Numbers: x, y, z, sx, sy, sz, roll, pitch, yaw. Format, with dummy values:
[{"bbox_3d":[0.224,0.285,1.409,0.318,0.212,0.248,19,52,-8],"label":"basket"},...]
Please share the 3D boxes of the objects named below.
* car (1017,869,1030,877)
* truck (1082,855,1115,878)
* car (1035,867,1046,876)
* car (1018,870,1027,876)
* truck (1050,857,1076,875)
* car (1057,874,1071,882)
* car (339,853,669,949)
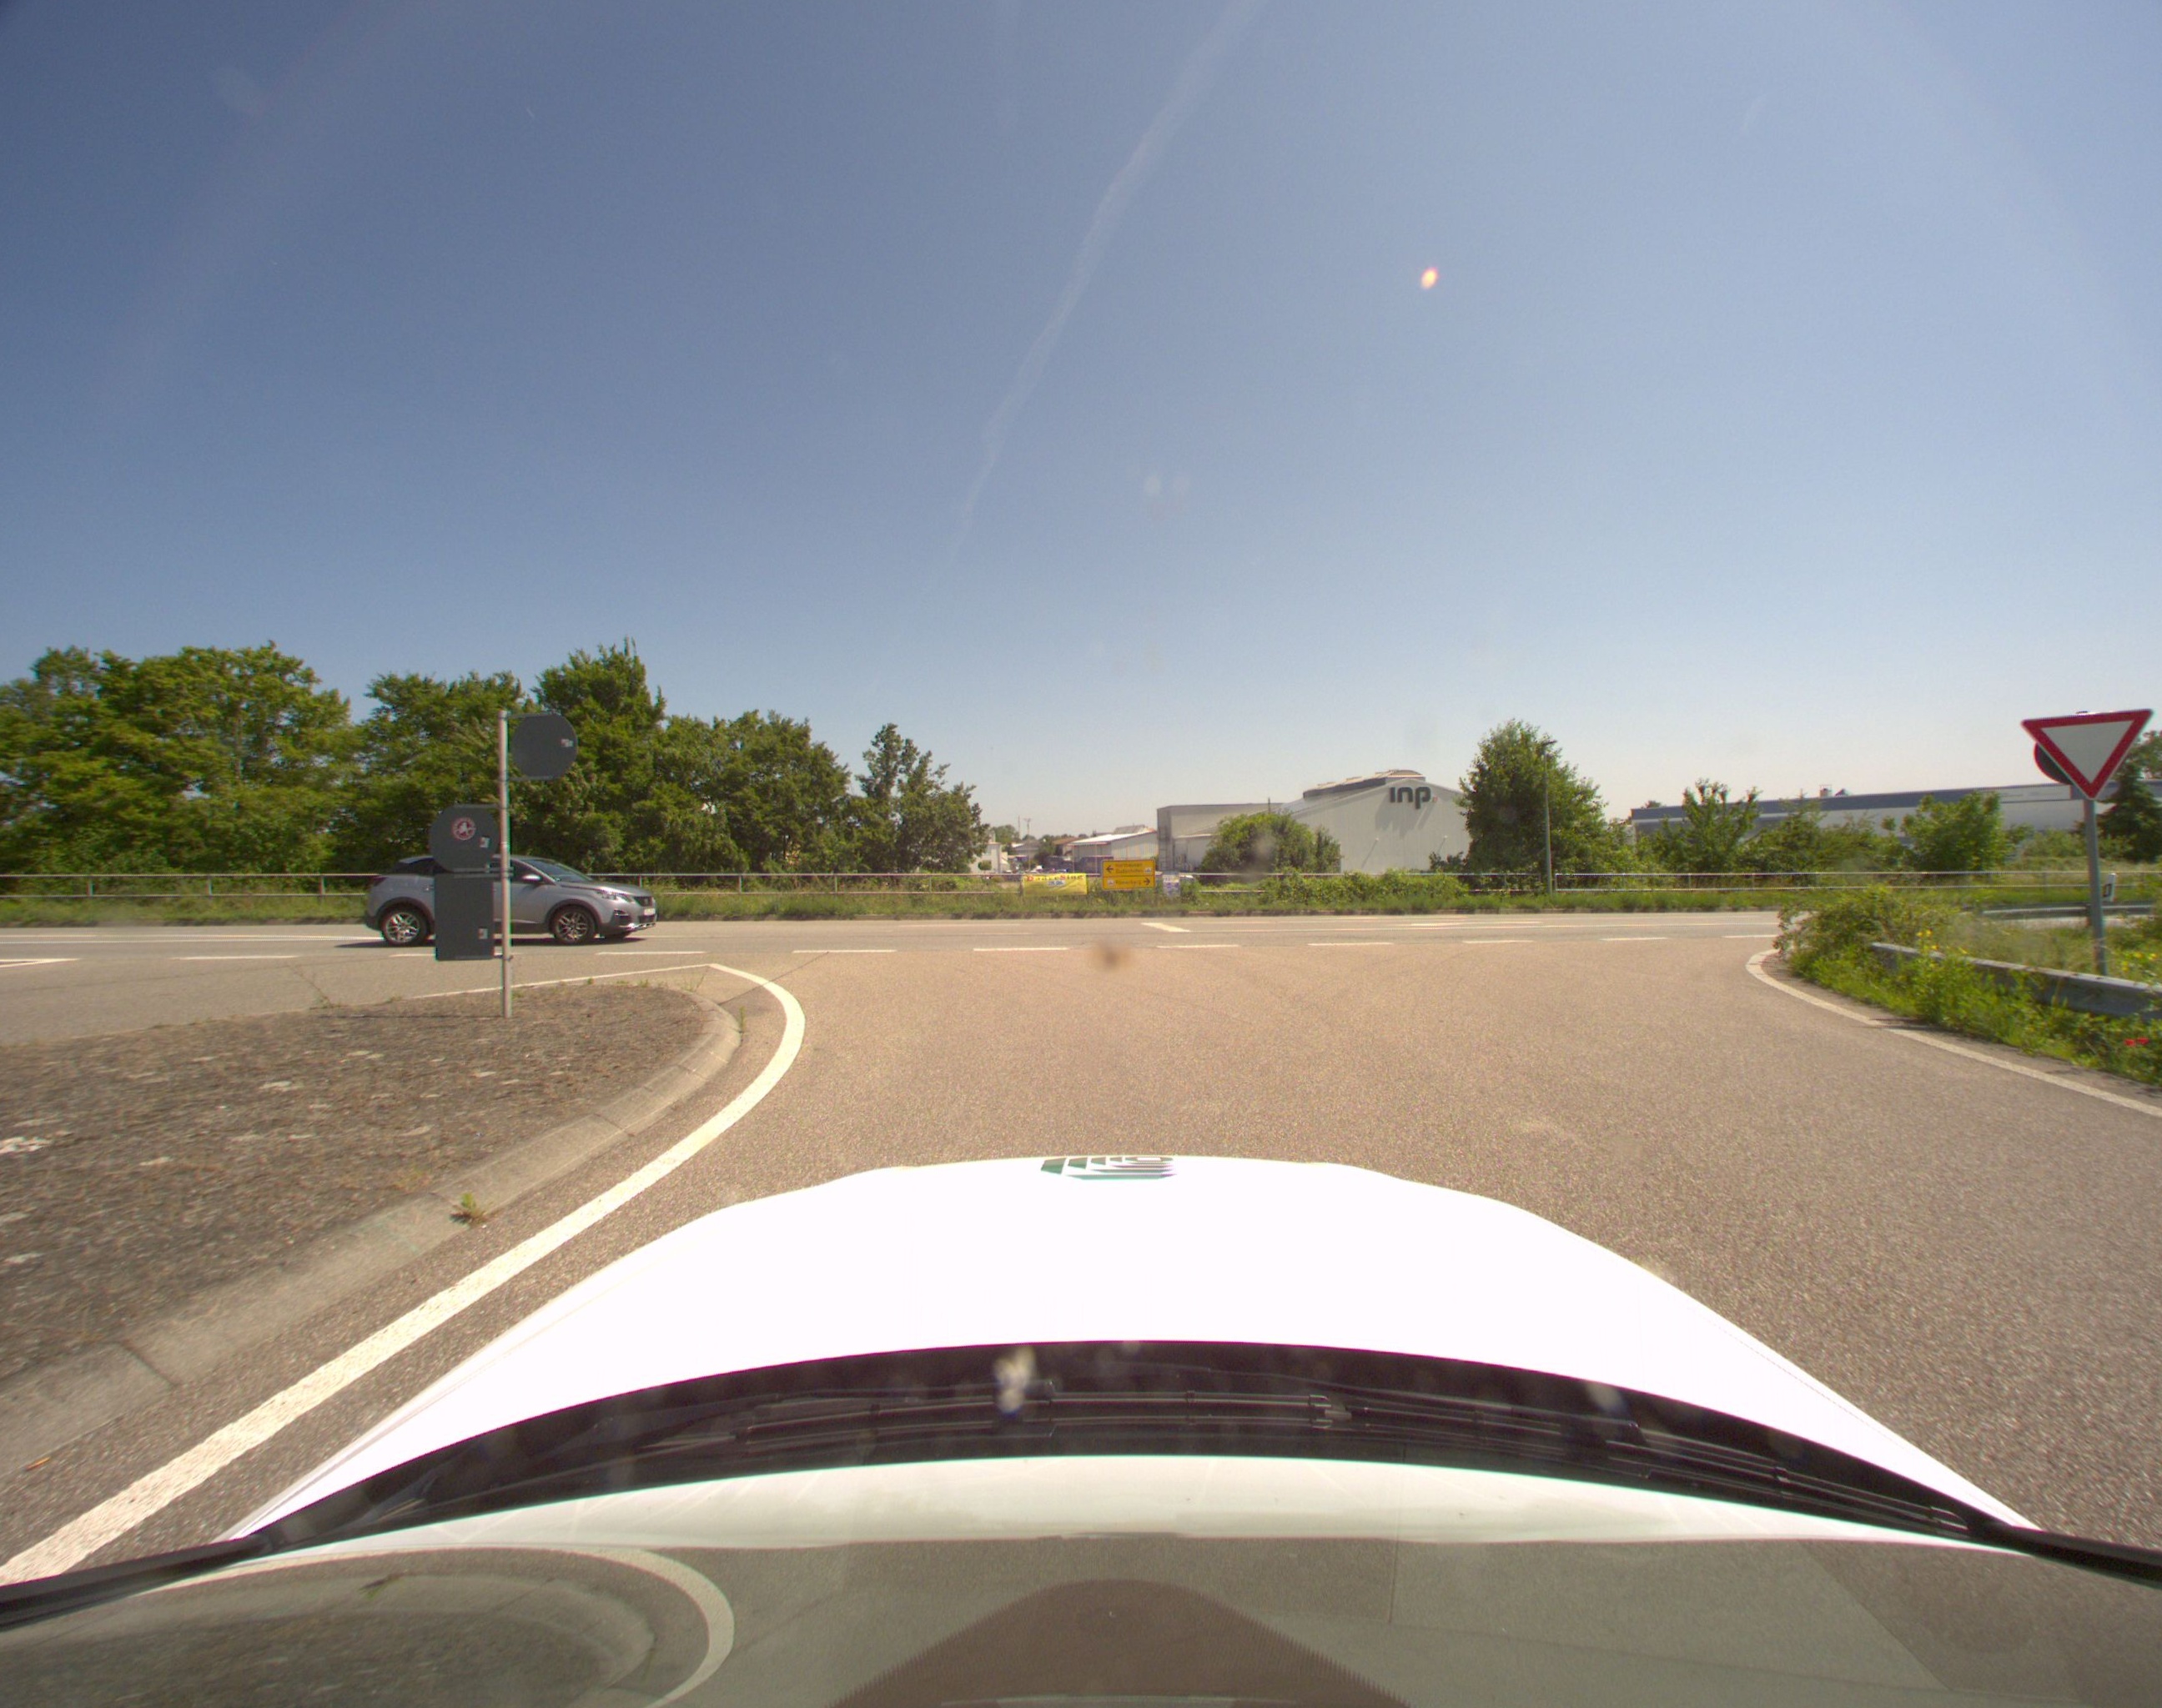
[{"bbox_3d":[-12.711,4.270,179.918,1.996,1.731,4.840,0,-1,-14],"label":"car"},{"bbox_3d":[3.445,2.523,164.612,3.711,4.311,13.287,0,-1,-12],"label":"truck"},{"bbox_3d":[-9.284,4.016,186.884,1.719,2.014,3.981,0,-1,-14],"label":"car"},{"bbox_3d":[-13.610,4.298,188.495,1.453,1.350,3.299,0,-1,-14],"label":"car"},{"bbox_3d":[-4.425,2.939,197.941,3.415,4.311,14.527,0,-1,-13],"label":"truck"},{"bbox_3d":[-3.147,4.329,147.064,1.685,1.363,3.818,-3,0,-14],"label":"car"},{"bbox_3d":[-10.149,0.809,14.678,4.474,1.583,1.793,1,-1,-9],"label":"car"}]
